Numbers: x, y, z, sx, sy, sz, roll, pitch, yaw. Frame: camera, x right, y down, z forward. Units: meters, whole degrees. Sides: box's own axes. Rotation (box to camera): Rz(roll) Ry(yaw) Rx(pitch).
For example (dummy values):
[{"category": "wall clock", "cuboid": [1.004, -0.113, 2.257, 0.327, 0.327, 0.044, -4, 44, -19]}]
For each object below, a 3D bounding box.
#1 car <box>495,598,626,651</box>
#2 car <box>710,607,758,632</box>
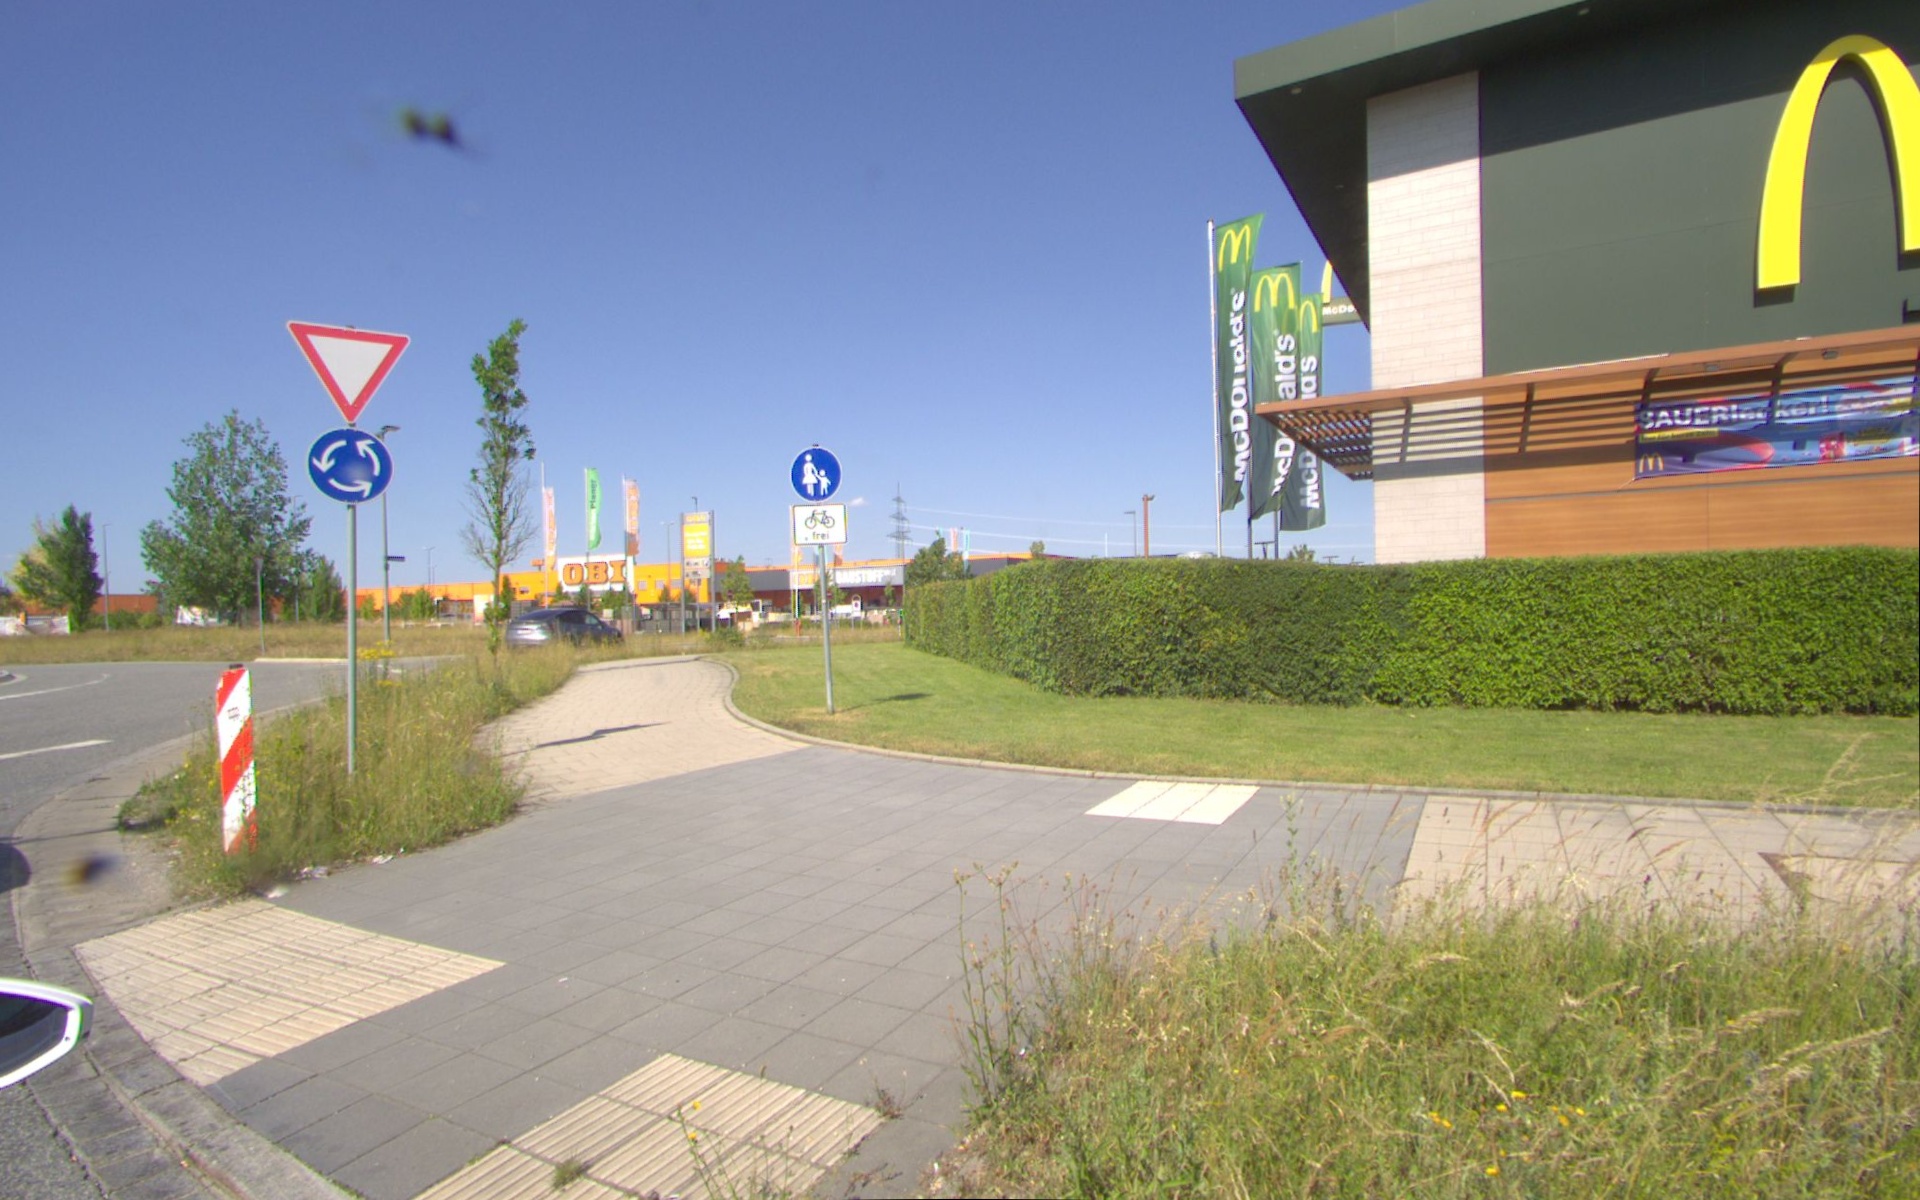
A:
[{"category": "car", "cuboid": [-12.913, 0.774, 32.661, 1.798, 1.605, 4.162, -1, 0, 16]}, {"category": "car", "cuboid": [-17.665, 1.546, 78.375, 1.673, 1.864, 3.764, -1, -2, 25]}]
